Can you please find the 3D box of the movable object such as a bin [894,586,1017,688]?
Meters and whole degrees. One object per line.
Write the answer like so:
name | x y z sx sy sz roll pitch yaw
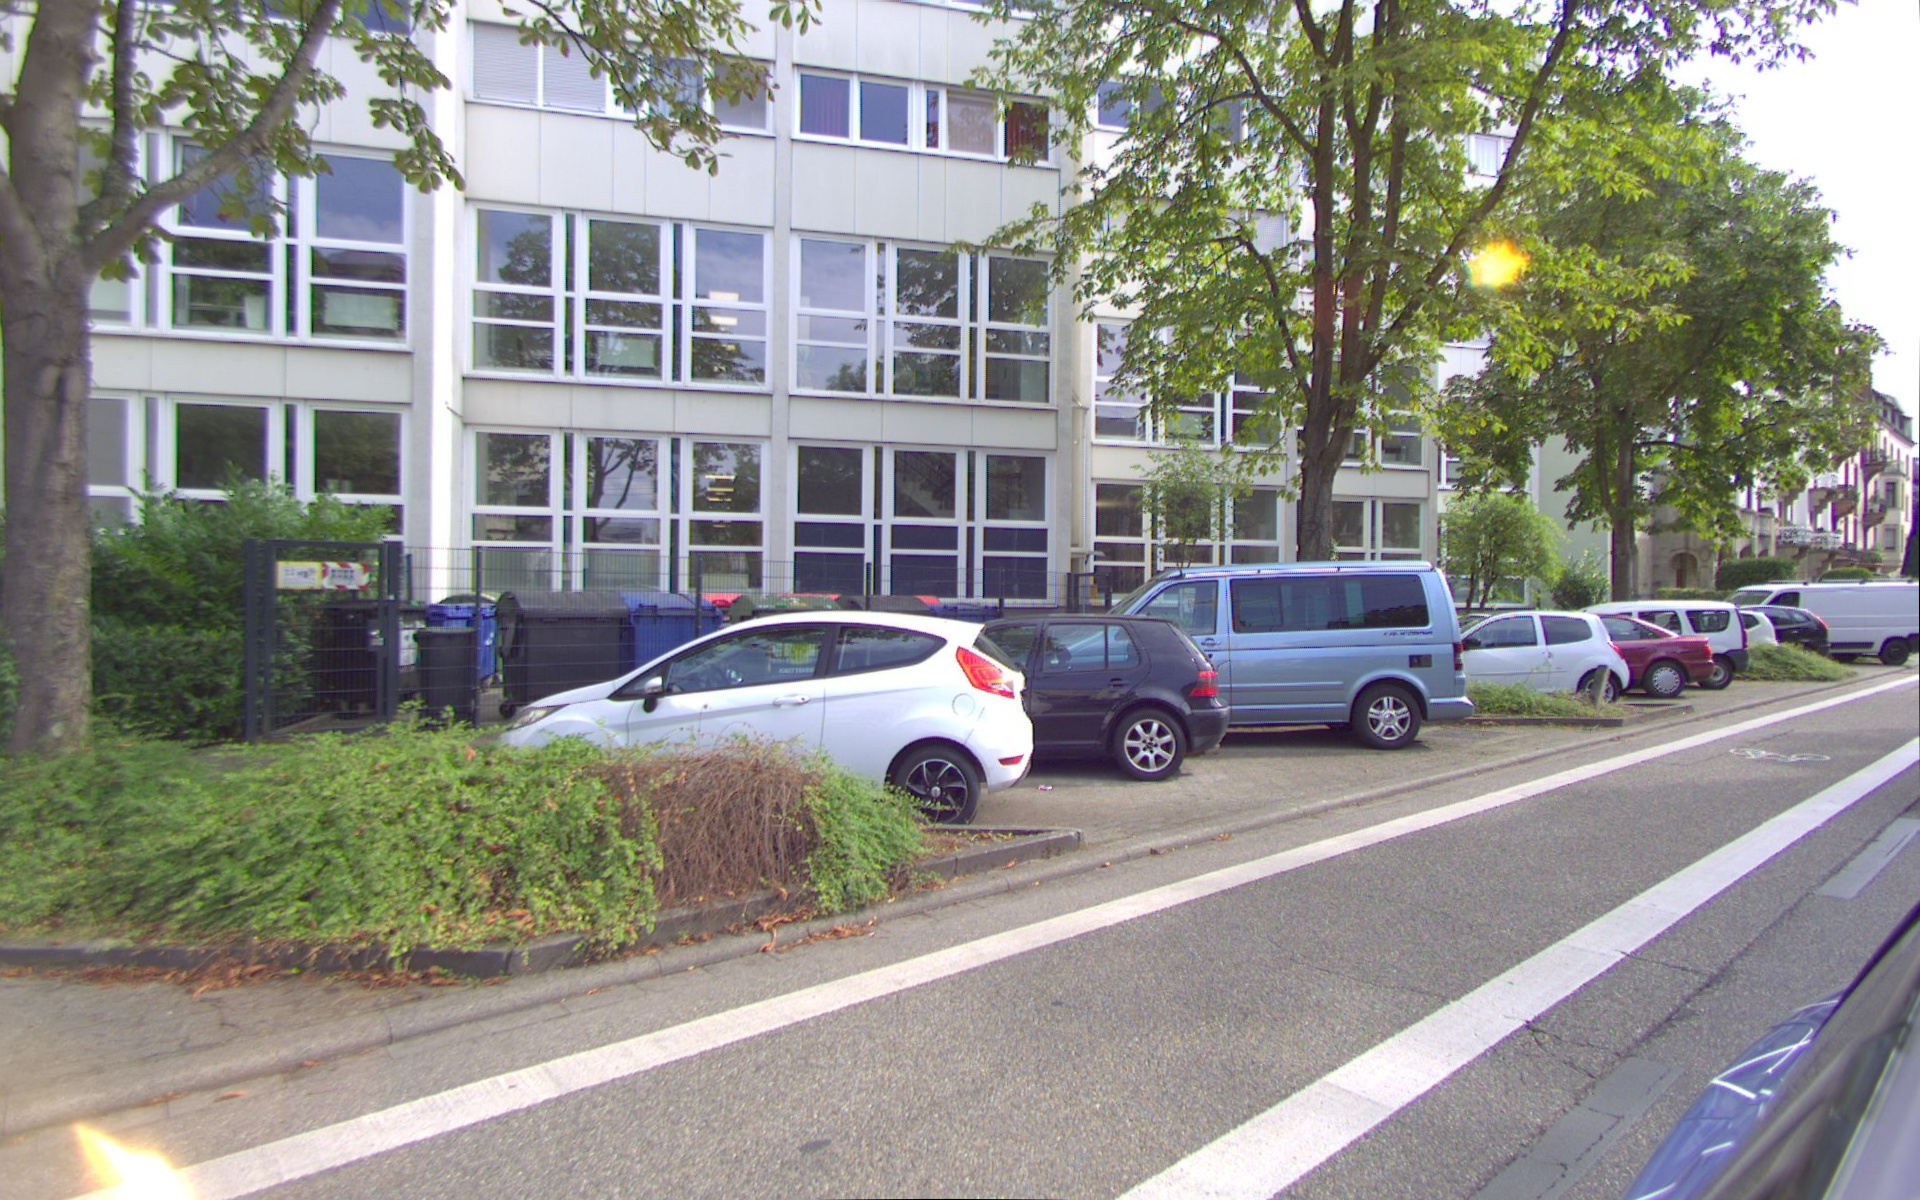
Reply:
movable object such as a bin | -0.075 0.528 15.491 1.374 1.477 1.335 0 0 -36

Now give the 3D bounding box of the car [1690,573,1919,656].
car | 23.936 0.376 28.243 5.349 2.203 2.143 0 0 9

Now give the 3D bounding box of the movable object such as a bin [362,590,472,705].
movable object such as a bin | -7.020 0.583 13.152 1.095 1.409 1.065 0 0 -19

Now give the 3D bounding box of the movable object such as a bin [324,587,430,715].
movable object such as a bin | -6.785 0.561 11.837 0.893 1.425 1.026 0 0 -19

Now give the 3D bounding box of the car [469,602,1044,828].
car | -1.309 0.730 7.379 3.792 1.410 1.632 0 0 4

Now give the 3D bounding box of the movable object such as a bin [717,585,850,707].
movable object such as a bin | -2.384 0.574 13.613 1.328 1.521 1.335 0 0 -36

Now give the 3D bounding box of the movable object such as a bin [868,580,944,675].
movable object such as a bin | -0.966 0.462 17.749 1.150 1.588 1.182 0 0 -12

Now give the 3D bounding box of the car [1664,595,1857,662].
car | 20.737 0.692 26.412 3.605 1.609 1.753 0 1 24

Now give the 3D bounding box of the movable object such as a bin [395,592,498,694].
movable object such as a bin | -7.297 0.578 14.463 1.155 1.387 1.177 0 0 -19

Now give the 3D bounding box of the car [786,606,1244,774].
car | 0.499 0.771 9.556 3.902 1.405 1.812 0 -1 5

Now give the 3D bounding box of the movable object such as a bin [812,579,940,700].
movable object such as a bin | -1.210 0.519 14.468 1.328 1.616 1.335 0 0 -36

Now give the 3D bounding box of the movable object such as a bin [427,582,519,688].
movable object such as a bin | -7.570 0.520 15.814 1.155 1.588 1.177 0 0 -19

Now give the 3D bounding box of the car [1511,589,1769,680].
car | 13.006 0.617 19.581 3.708 1.638 1.810 0 0 9

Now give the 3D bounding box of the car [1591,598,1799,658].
car | 17.391 0.636 24.079 3.580 1.347 1.766 0 0 5

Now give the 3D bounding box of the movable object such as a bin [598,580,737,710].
movable object such as a bin | -3.692 0.520 12.735 1.312 1.523 1.335 0 0 -36

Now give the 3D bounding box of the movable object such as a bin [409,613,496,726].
movable object such as a bin | -5.380 0.711 10.722 0.729 1.119 0.786 0 0 -34

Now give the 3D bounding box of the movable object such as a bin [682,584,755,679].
movable object such as a bin | -4.054 0.503 17.052 1.150 1.533 1.182 0 0 -12

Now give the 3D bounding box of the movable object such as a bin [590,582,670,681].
movable object such as a bin | -5.487 0.499 16.909 1.150 1.588 1.182 0 0 -12

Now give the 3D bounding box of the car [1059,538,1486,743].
car | 3.308 0.401 11.493 4.268 2.090 1.998 0 0 5

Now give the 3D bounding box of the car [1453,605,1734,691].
car | 10.886 0.789 17.643 3.708 1.355 1.810 0 0 9

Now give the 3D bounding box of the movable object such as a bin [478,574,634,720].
movable object such as a bin | -4.683 0.496 11.709 1.389 1.549 1.330 0 0 -36

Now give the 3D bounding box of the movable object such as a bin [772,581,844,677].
movable object such as a bin | -2.636 0.477 17.447 1.150 1.588 1.182 0 0 -12

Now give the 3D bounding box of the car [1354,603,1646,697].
car | 8.249 0.730 15.742 3.580 1.347 1.766 0 0 5
